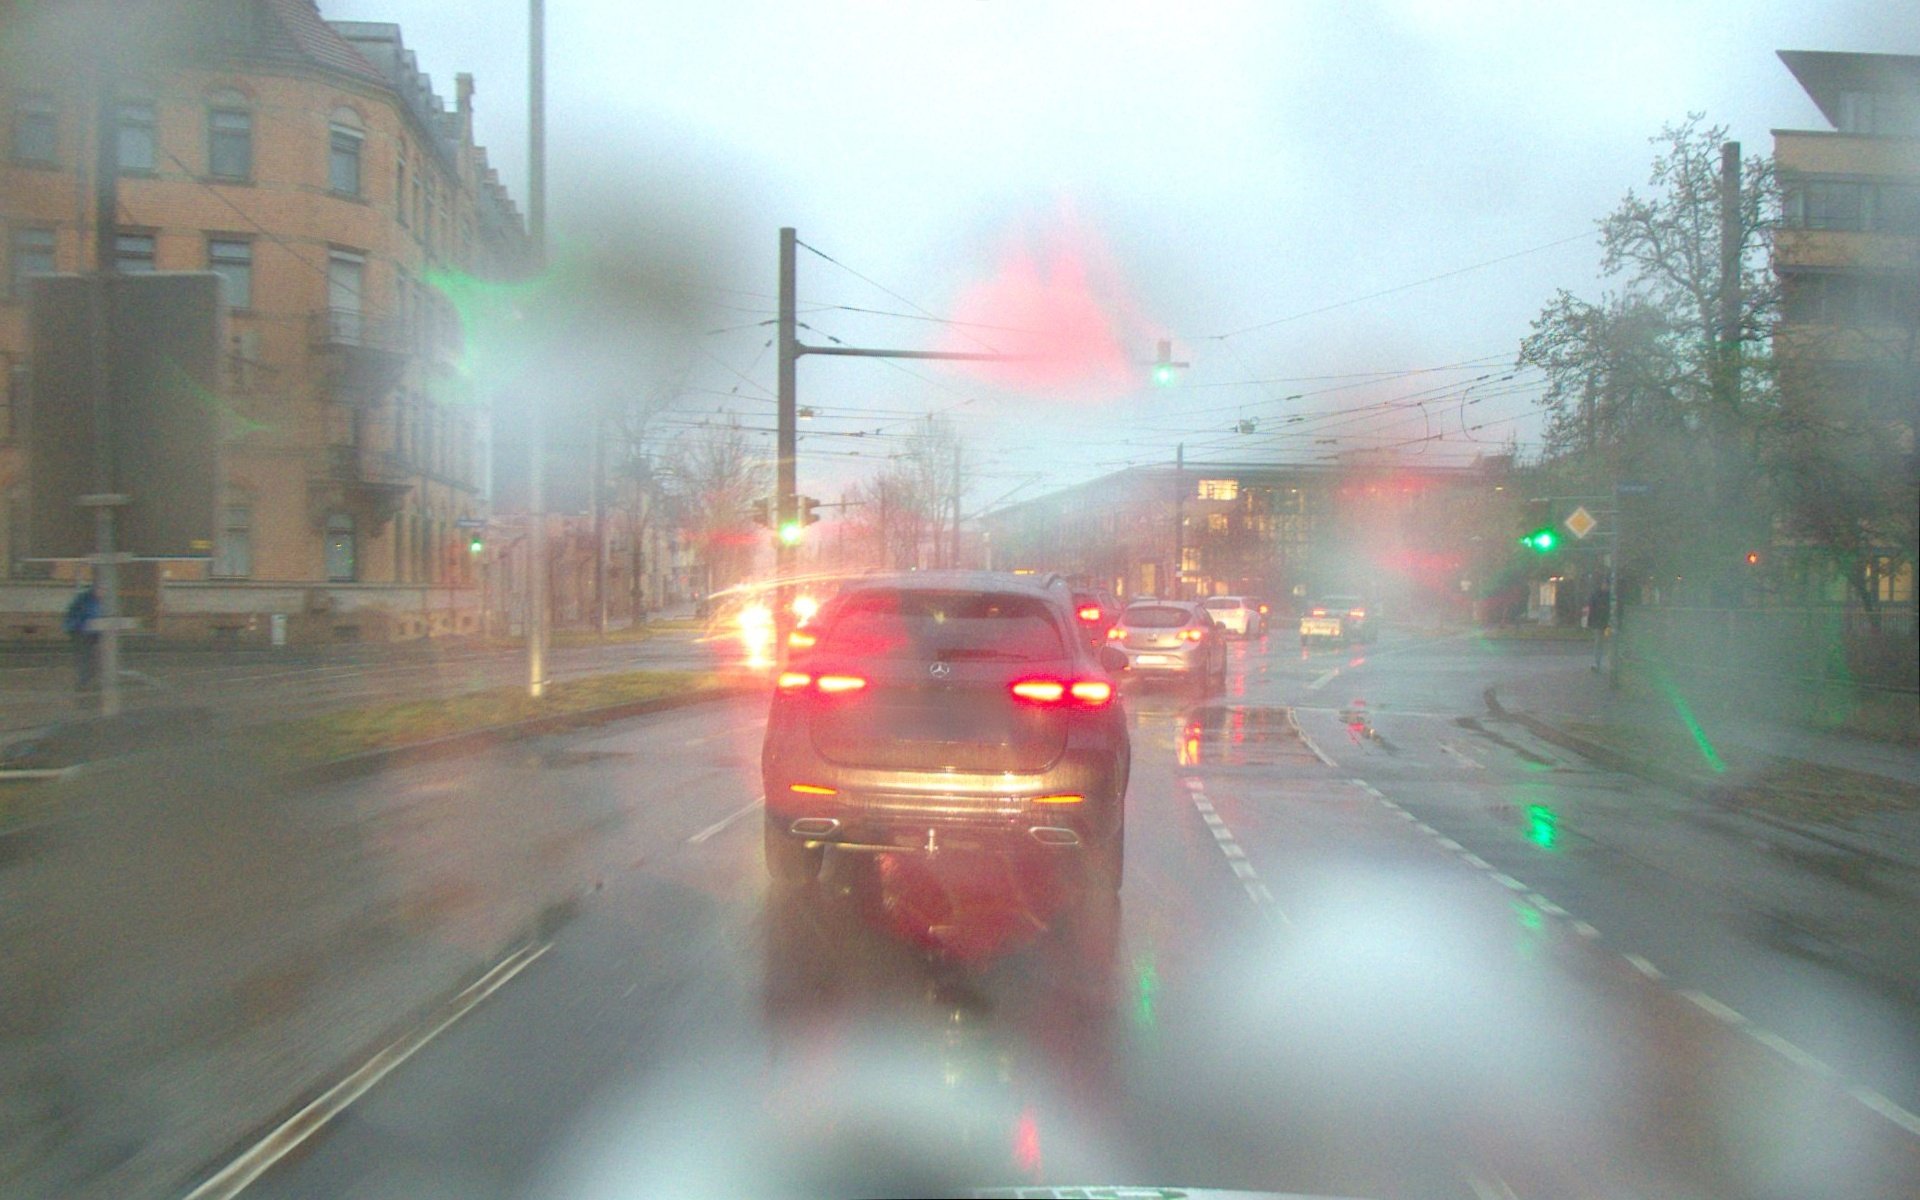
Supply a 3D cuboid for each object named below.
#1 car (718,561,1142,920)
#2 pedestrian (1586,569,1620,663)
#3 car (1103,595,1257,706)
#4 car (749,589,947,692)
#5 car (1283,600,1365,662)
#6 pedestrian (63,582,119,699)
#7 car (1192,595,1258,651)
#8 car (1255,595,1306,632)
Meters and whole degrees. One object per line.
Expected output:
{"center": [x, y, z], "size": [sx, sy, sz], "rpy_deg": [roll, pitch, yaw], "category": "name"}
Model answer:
{"center": [-0.202, 0.628, 9.624], "size": [1.951, 1.644, 3.998], "rpy_deg": [0, 0, -2], "category": "car"}
{"center": [13.130, 0.321, 33.779], "size": [0.560, 1.870, 0.683], "rpy_deg": [-2, 1, 19], "category": "pedestrian"}
{"center": [3.964, 0.814, 29.232], "size": [1.952, 1.796, 4.001], "rpy_deg": [0, 0, 19], "category": "car"}
{"center": [-1.608, 0.550, 25.263], "size": [1.951, 1.422, 4.004], "rpy_deg": [0, 0, 13], "category": "car"}
{"center": [11.302, 0.931, 51.168], "size": [1.952, 1.796, 4.001], "rpy_deg": [0, 0, 20], "category": "car"}
{"center": [-13.570, 0.629, 25.834], "size": [0.457, 1.803, 0.629], "rpy_deg": [0, 0, 13], "category": "pedestrian"}
{"center": [9.018, 0.738, 56.164], "size": [1.951, 1.796, 4.003], "rpy_deg": [0, 0, 13], "category": "car"}
{"center": [12.795, 0.523, 66.262], "size": [1.822, 1.434, 3.947], "rpy_deg": [0, 0, 8], "category": "car"}
